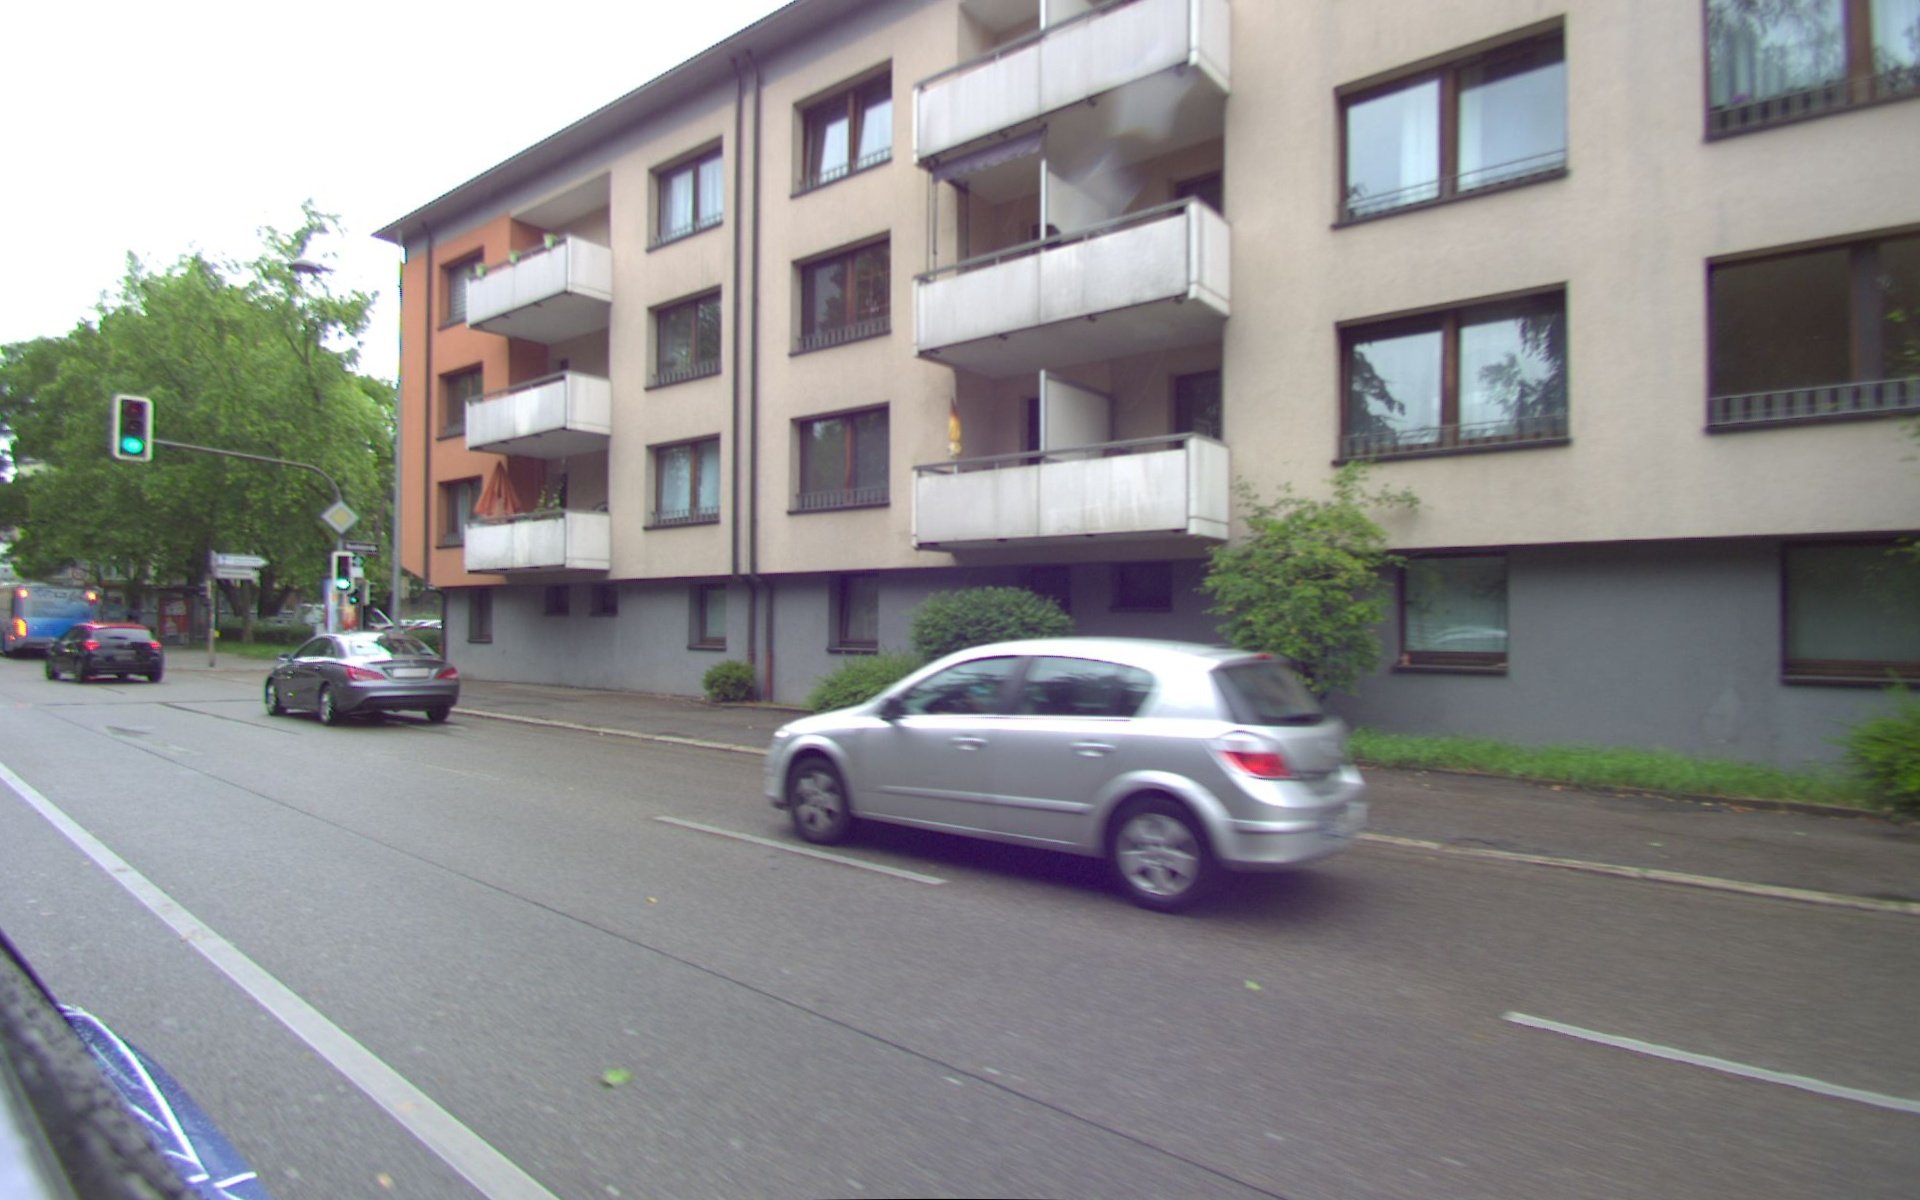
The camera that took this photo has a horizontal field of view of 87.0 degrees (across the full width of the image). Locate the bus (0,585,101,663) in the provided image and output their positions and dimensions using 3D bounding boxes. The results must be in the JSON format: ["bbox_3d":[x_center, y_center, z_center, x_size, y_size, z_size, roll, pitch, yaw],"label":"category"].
[{"bbox_3d":[-39.535,0.984,43.103,12.079,2.962,2.665,-1,-2,41],"label":"bus"}]

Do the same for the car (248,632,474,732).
[{"bbox_3d":[-9.978,1.261,16.697,4.679,1.426,1.794,-2,-3,41],"label":"car"}]

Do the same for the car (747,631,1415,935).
[{"bbox_3d":[0.655,0.941,6.708,4.039,1.426,1.797,-2,-3,35],"label":"car"}]

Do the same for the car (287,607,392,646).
[{"bbox_3d":[-31.709,1.371,51.814,1.701,1.937,4.280,-1,-2,38],"label":"car"}]

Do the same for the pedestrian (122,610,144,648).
[{"bbox_3d":[-40.541,1.414,49.617,0.687,1.782,0.702,-1,1,41],"label":"pedestrian"}]

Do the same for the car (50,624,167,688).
[{"bbox_3d":[-21.900,1.405,25.974,3.888,1.503,1.669,-2,-3,41],"label":"car"}]
